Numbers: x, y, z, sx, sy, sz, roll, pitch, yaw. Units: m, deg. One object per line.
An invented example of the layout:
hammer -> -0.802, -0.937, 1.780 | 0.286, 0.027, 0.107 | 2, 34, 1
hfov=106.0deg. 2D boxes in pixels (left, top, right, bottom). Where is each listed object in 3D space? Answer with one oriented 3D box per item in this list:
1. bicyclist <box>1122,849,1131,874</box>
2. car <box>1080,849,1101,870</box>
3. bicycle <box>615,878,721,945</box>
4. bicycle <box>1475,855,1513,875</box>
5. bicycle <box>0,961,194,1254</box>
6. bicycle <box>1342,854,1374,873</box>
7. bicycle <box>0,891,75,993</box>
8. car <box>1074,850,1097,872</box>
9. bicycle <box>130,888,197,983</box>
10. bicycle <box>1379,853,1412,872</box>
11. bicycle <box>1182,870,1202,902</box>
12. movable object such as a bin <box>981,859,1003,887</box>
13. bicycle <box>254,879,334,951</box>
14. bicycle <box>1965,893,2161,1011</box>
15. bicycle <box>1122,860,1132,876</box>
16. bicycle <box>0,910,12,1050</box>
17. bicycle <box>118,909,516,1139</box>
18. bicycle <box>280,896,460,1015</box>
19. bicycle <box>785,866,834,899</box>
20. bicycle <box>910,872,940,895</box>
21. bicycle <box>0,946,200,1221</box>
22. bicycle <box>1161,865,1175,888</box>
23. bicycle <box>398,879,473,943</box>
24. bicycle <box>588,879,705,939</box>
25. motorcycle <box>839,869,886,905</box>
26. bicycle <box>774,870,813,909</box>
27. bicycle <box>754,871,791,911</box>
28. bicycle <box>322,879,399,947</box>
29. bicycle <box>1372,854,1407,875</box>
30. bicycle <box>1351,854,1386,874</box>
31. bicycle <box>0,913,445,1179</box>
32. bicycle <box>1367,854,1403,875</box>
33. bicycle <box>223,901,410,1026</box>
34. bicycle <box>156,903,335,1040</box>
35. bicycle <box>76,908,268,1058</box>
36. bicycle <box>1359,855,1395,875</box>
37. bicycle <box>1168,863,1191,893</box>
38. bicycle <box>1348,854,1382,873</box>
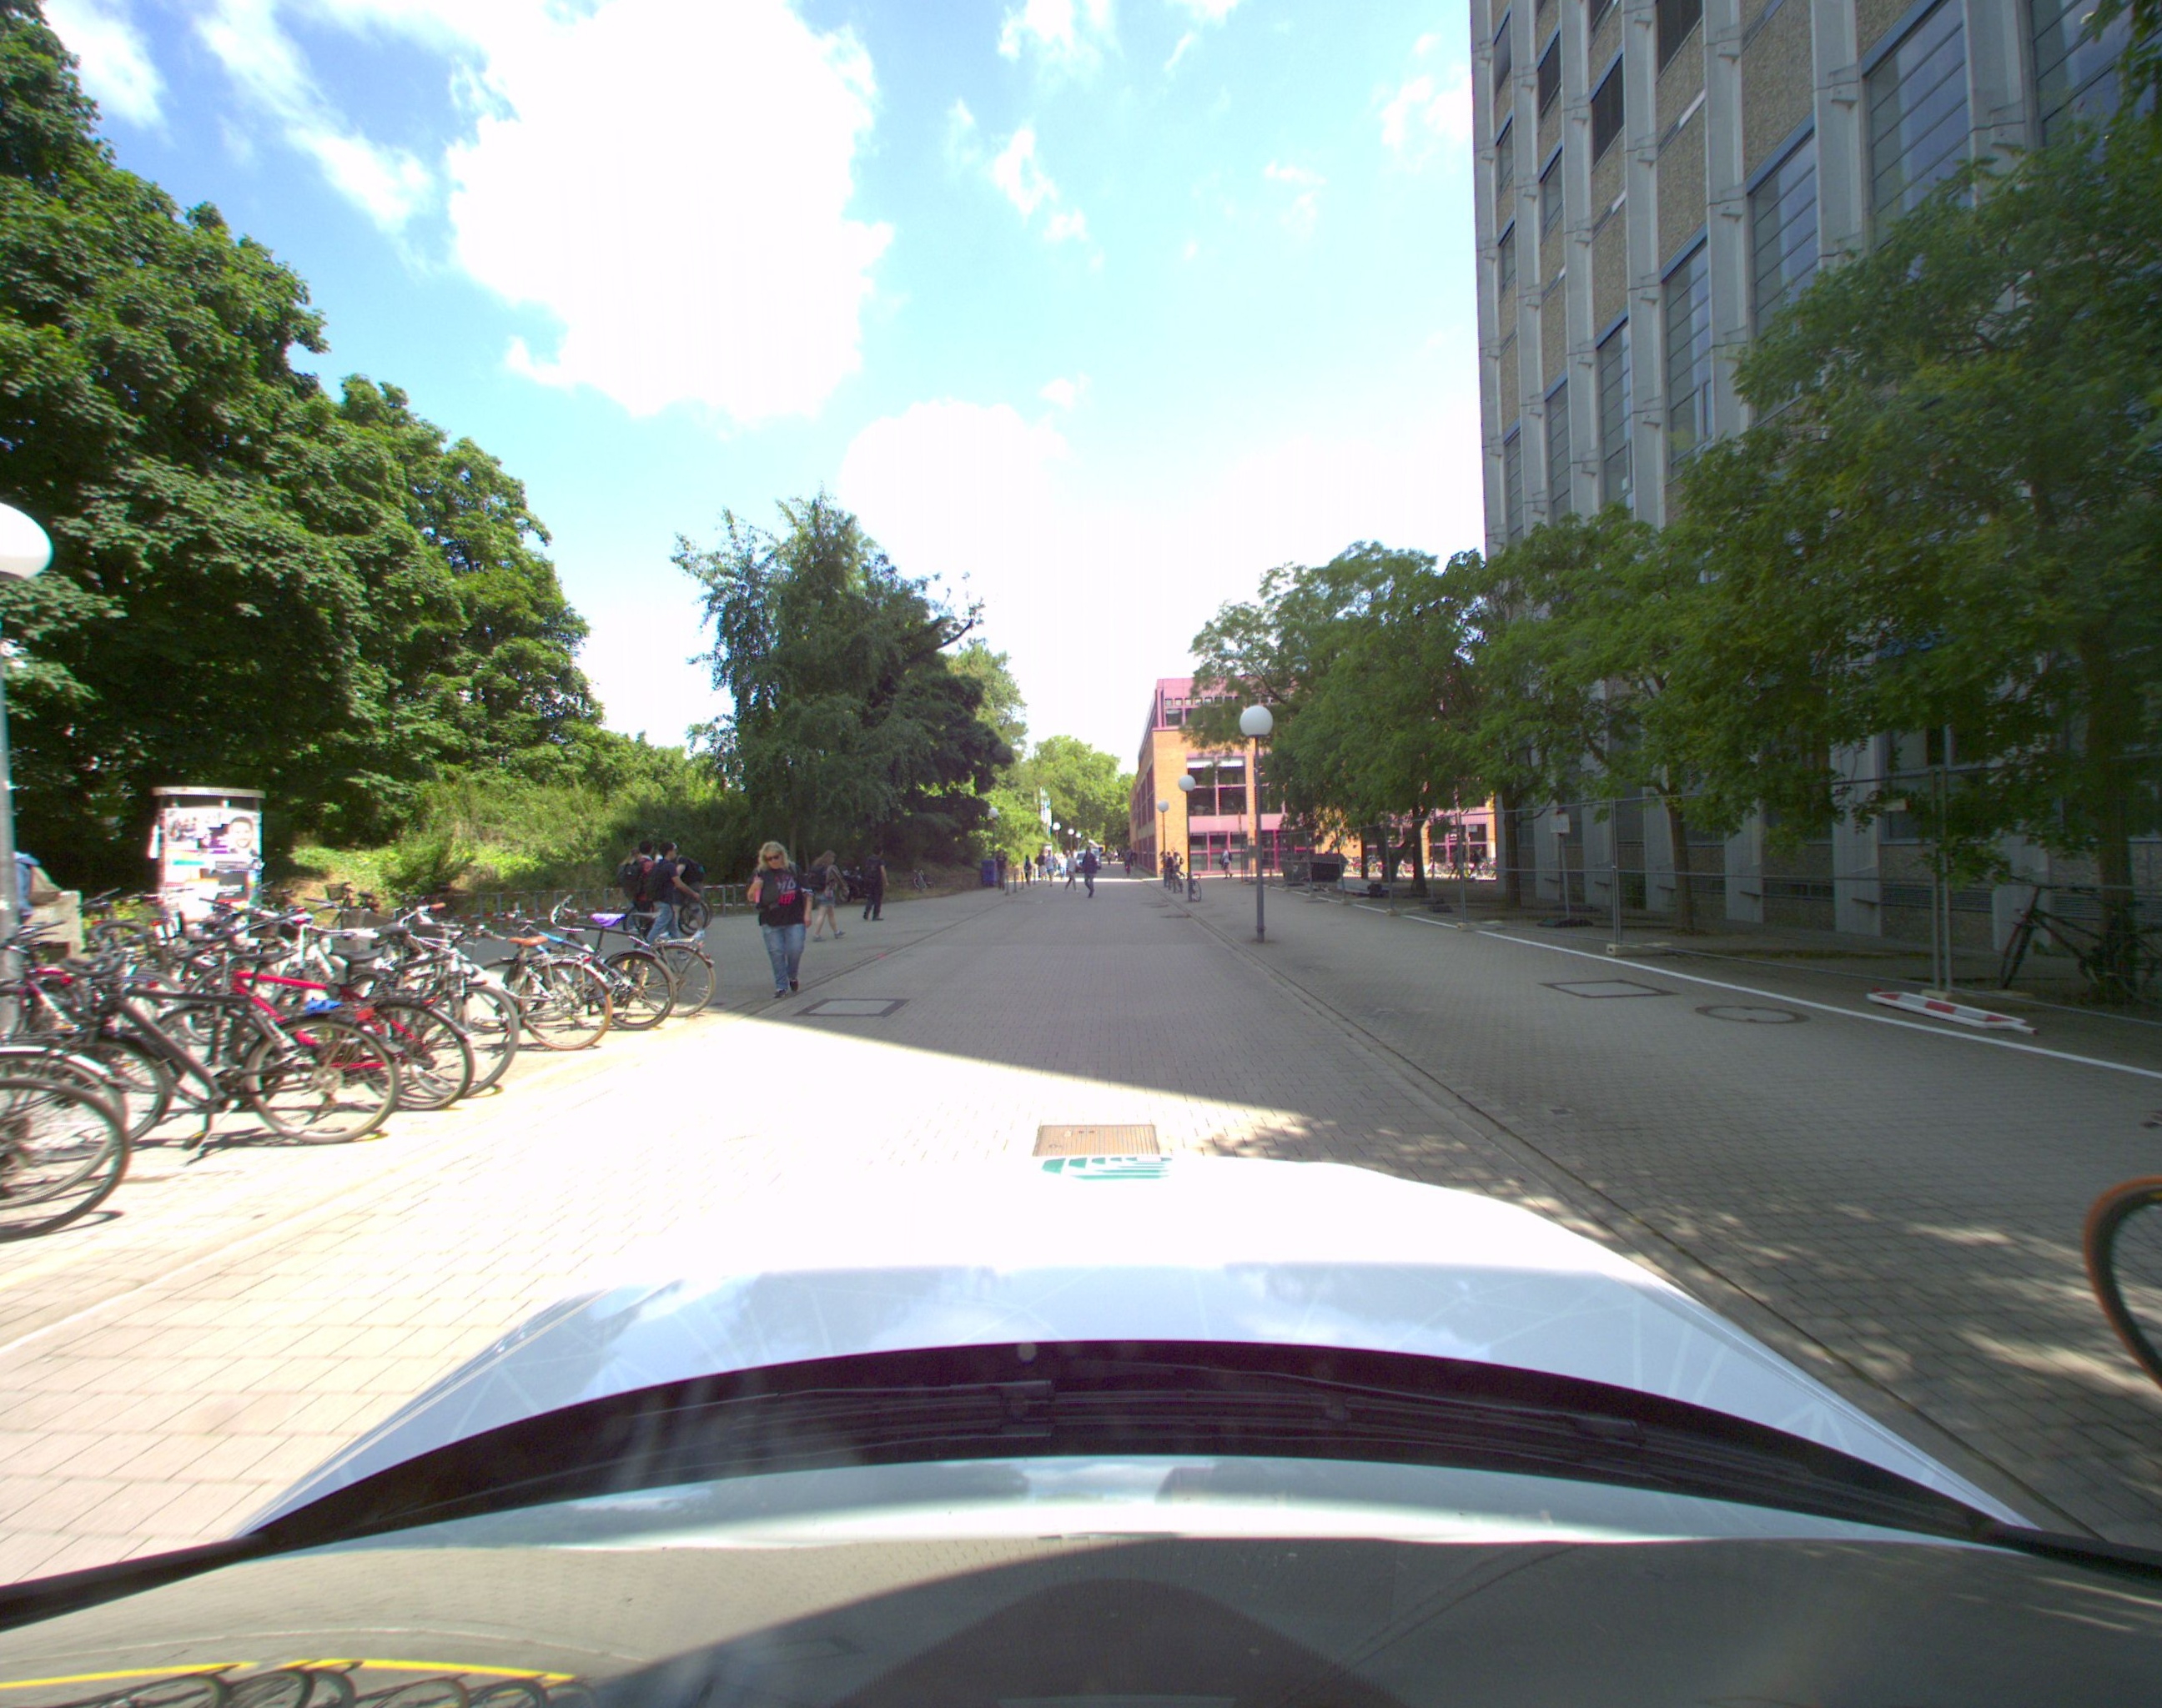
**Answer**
bicyclist -> 3.229, 0.532, 57.462 | 0.585, 1.716, 0.665 | -1, 0, -2
car -> 0.955, 0.477, 80.325 | 1.876, 1.974, 5.217 | -1, 0, 2
bicycle -> -7.651, 1.031, 15.175 | 0.468, 1.110, 1.856 | -1, 0, 26
bicycle -> 24.370, 0.637, 48.074 | 1.989, 1.169, 0.474 | 0, 0, 0
bicycle -> -4.565, 0.991, 2.984 | 1.706, 1.018, 0.469 | 0, -1, -34
bicycle -> 16.658, 0.574, 48.989 | 1.803, 1.110, 0.523 | 0, -1, 0
bicycle -> -12.888, 1.039, 10.005 | 0.477, 1.110, 1.756 | 0, -1, -45
car -> 0.433, 0.607, 69.521 | 1.783, 1.762, 4.483 | -1, 0, 2
bicycle -> -12.007, 1.021, 10.688 | 0.477, 1.110, 1.756 | 0, -1, -45
bicycle -> 18.720, 0.498, 48.451 | 1.802, 1.110, 0.473 | 0, -1, -4
bicycle -> 3.519, 1.003, 25.968 | 0.394, 0.936, 1.732 | -3, 0, 1
movable object such as a bin -> -4.415, 0.927, 40.657 | 0.704, 1.336, 1.243 | 1, 0, 12
bicycle -> -12.892, 0.968, 13.330 | 1.755, 1.110, 0.477 | -1, -1, 30
bicycle -> 9.075, 0.848, 7.348 | 0.290, 0.905, 1.615 | -1, 0, -6
bicycle -> 3.239, 1.004, 57.447 | 0.585, 1.083, 1.906 | -1, 0, -1
bicycle -> -8.463, 1.004, 6.040 | 1.678, 1.083, 0.477 | -1, -1, 43
bicycle -> -4.375, 0.937, 4.771 | 1.695, 1.168, 0.472 | 0, -1, -12
bicycle -> -7.158, 0.991, 8.202 | 1.682, 1.110, 0.476 | -1, -1, 14
bicycle -> -8.857, 0.914, 26.610 | 0.468, 1.047, 1.709 | 1, 0, 23
bicycle -> -6.369, 1.184, 33.298 | 0.418, 0.910, 1.747 | -1, -2, 17
bicycle -> -4.925, 0.989, 3.343 | 1.706, 1.062, 0.469 | 0, -1, -34
bicycle -> 3.969, 1.013, 37.279 | 0.449, 0.962, 1.740 | -4, 0, 1
bicycle -> -11.934, 1.021, 15.047 | 1.755, 1.110, 0.477 | -1, -1, 30
bicycle -> -8.285, 1.032, 15.602 | 0.535, 1.047, 1.920 | -3, -3, 42
motorcycle -> -6.886, 1.014, 25.636 | 2.001, 1.047, 0.477 | 1, 1, 44
bicycle -> -8.233, 0.991, 23.294 | 0.476, 1.047, 1.680 | 2, -1, -39
bicycle -> -8.652, 1.022, 22.816 | 0.476, 1.047, 1.680 | 0, -1, -39
bicycle -> -12.519, 0.994, 14.137 | 1.755, 1.110, 0.477 | -1, -1, 30
bicycle -> 16.496, 0.571, 43.529 | 1.686, 1.110, 0.475 | 0, -1, 5
bicycle -> 16.312, 0.574, 46.176 | 1.800, 1.110, 0.524 | 0, -1, 5
bicycle -> -4.421, 0.927, 4.229 | 1.697, 1.168, 0.471 | 0, -1, -16
bicycle -> 16.663, 0.581, 44.648 | 1.800, 1.110, 0.524 | 0, -1, 5
bicycle -> -7.250, 0.999, 7.722 | 1.705, 1.083, 0.476 | -1, -1, 16
bicycle -> -7.434, 1.002, 7.241 | 1.679, 1.083, 0.476 | -1, -1, 21
bicycle -> -7.466, 1.013, 6.681 | 1.679, 1.083, 0.476 | -1, -1, 21
bicycle -> 16.478, 0.606, 45.315 | 1.803, 1.110, 0.524 | 0, -1, 1
bicycle -> 3.840, 0.912, 31.767 | 0.705, 1.093, 1.749 | -1, 0, 1
bicycle -> 16.422, 0.546, 47.142 | 1.804, 1.110, 0.523 | 0, -1, -1
